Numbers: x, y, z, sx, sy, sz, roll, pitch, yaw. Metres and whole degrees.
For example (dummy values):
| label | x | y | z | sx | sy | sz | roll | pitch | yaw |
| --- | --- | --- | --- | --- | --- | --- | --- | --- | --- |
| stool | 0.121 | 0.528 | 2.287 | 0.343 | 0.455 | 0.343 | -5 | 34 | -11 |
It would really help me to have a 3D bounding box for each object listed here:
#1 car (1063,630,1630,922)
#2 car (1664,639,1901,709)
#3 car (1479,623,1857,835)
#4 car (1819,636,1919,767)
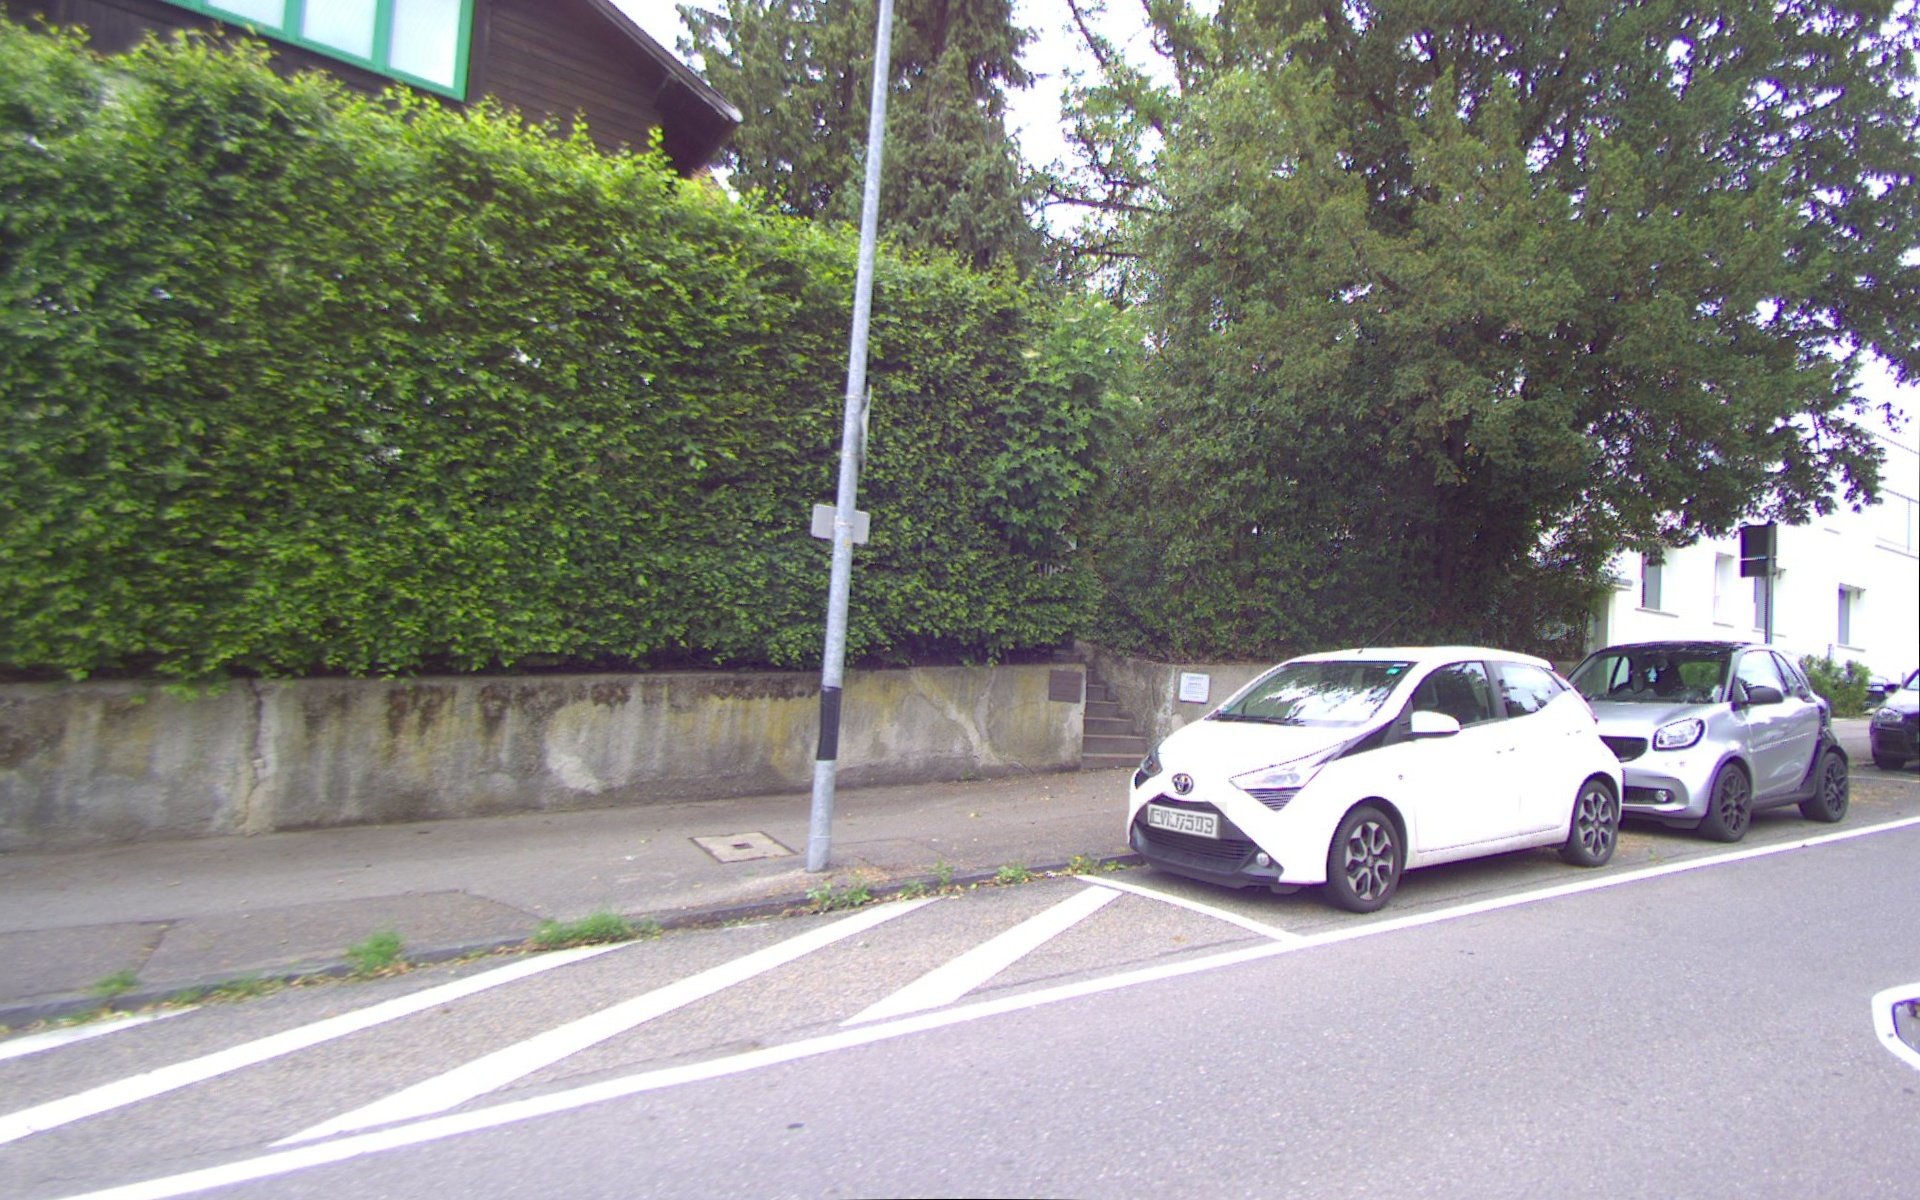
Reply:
| label | x | y | z | sx | sy | sz | roll | pitch | yaw |
| --- | --- | --- | --- | --- | --- | --- | --- | --- | --- |
| car | 2.608 | 0.999 | 6.721 | 3.472 | 1.466 | 1.737 | 2 | -5 | -30 |
| car | 18.167 | 1.587 | 22.342 | 1.724 | 1.372 | 3.771 | 2 | -2 | -34 |
| car | 6.176 | 1.022 | 8.758 | 2.941 | 1.538 | 1.616 | 2 | -3 | -30 |
| car | 12.964 | 1.224 | 12.681 | 4.629 | 1.489 | 1.841 | 2 | -3 | -31 |
